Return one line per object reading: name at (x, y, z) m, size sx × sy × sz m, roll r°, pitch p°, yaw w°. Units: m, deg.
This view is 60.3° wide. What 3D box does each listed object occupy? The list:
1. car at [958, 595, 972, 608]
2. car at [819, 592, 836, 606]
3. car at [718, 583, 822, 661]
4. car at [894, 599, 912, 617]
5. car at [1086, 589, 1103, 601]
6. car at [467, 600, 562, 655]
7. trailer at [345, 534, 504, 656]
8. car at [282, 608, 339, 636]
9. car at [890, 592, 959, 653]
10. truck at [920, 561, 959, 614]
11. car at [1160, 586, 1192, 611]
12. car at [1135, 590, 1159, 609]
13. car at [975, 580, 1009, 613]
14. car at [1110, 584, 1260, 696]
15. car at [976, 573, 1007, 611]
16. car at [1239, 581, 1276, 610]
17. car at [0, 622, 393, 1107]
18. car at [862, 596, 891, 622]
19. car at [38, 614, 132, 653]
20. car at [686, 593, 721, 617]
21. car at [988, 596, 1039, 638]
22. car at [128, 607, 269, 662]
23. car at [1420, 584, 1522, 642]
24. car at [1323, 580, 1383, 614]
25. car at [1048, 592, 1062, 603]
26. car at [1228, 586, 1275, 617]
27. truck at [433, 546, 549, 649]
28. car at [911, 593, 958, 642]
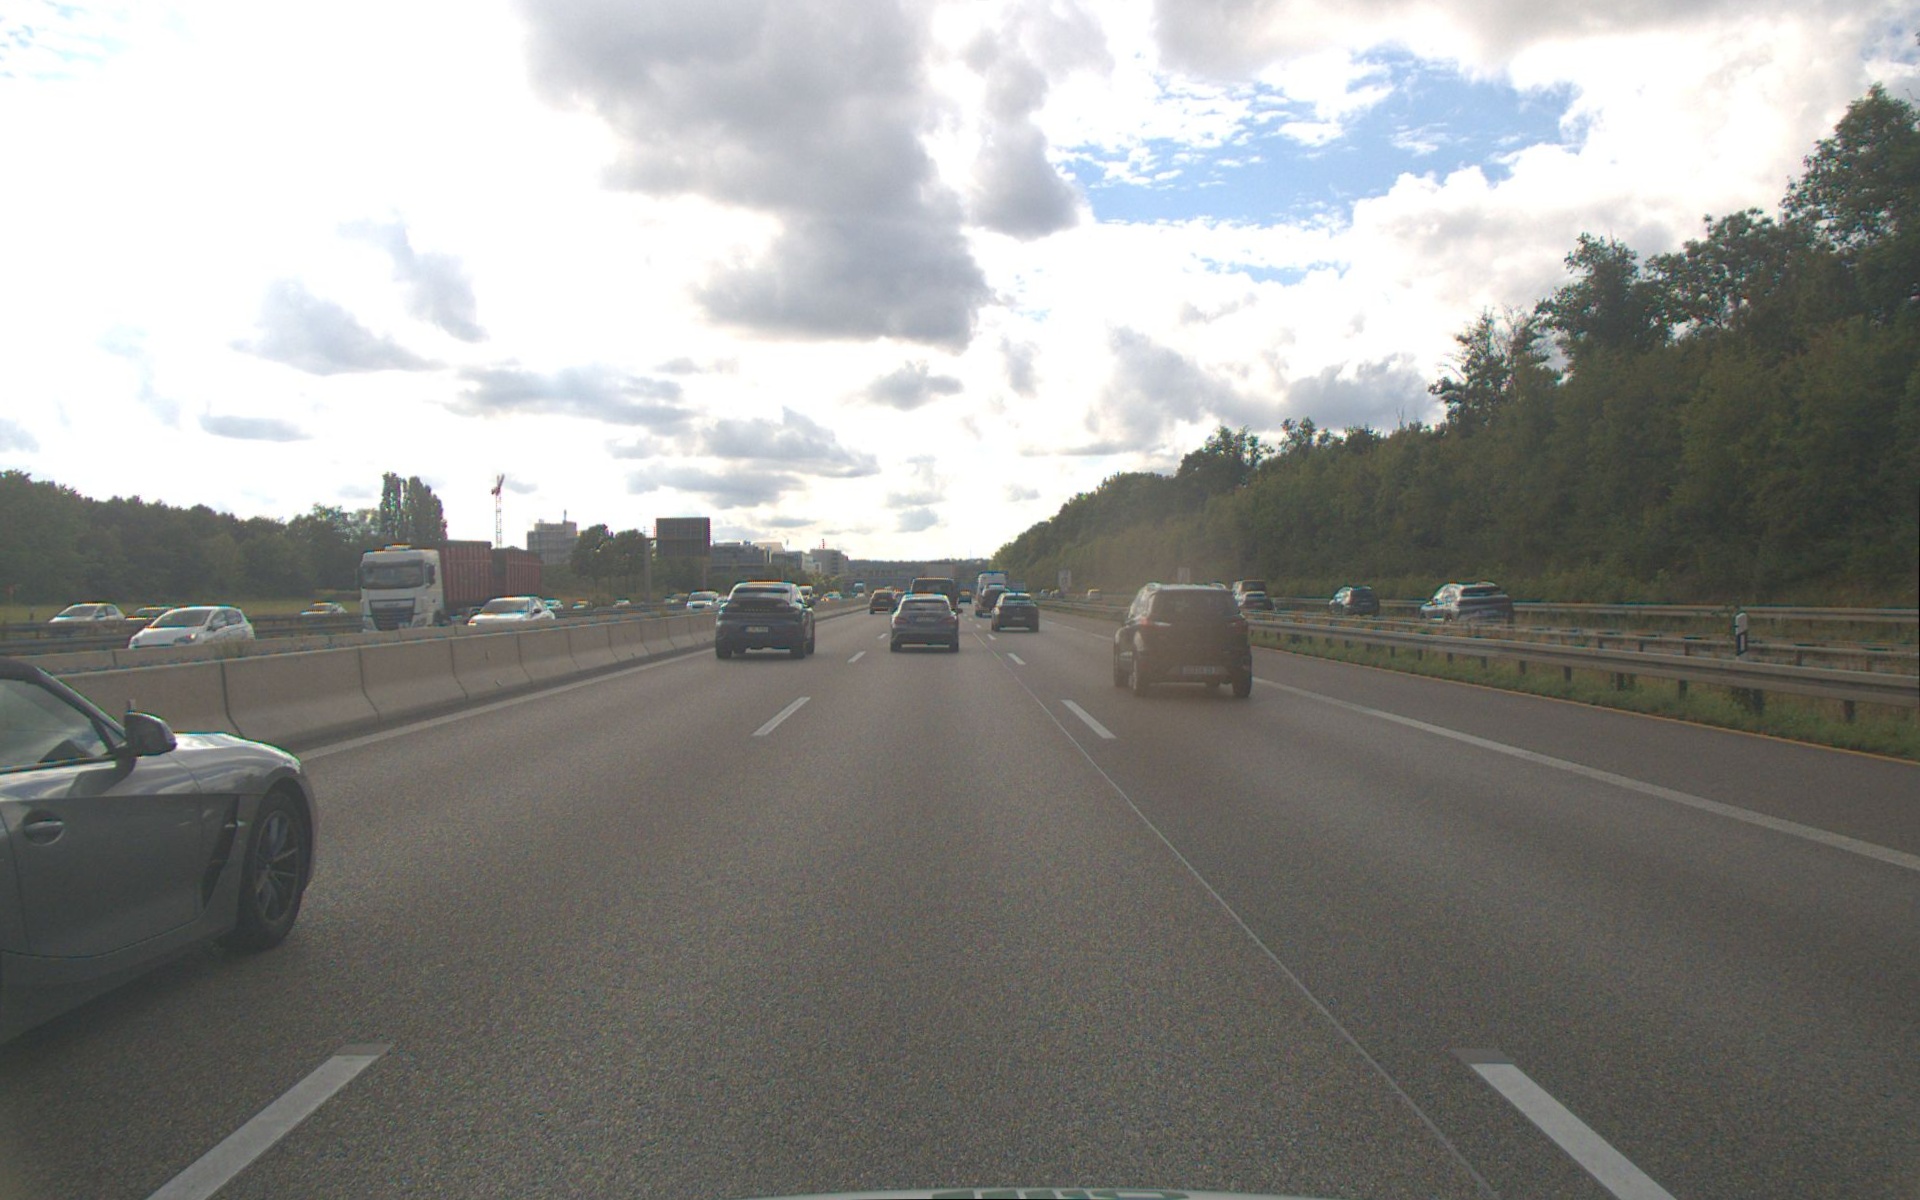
car at (0.583, 0.165, 212.870) m, size 1.716 × 1.725 × 4.189 m, roll 0°, pitch 0°, yaw -1°
car at (-16.082, -0.138, 200.717) m, size 1.727 × 1.761 × 4.702 m, roll 1°, pitch 0°, yaw -1°
car at (-4.327, 0.461, 38.367) m, size 1.873 × 1.664 × 5.499 m, roll 0°, pitch 0°, yaw -1°
car at (-5.416, 0.761, 157.936) m, size 1.663 × 1.639 × 4.112 m, roll 0°, pitch 0°, yaw -2°
car at (17.424, -0.654, 214.133) m, size 1.717 × 1.543 × 4.189 m, roll 0°, pitch 0°, yaw -2°
car at (-13.214, 0.787, 49.343) m, size 1.654 × 1.531 × 4.642 m, roll -1°, pitch 0°, yaw -1°
trailer at (-20.852, -0.211, 65.201) m, size 2.985 × 4.364 × 10.652 m, roll -1°, pitch 0°, yaw -1°
car at (-38.242, 1.279, 97.488) m, size 1.693 × 1.560 × 4.451 m, roll 0°, pitch 0°, yaw -1°
car at (-0.910, 0.547, 43.050) m, size 1.686 × 1.505 × 4.390 m, roll 0°, pitch 0°, yaw -1°
truck at (-1.791, -1.111, 145.292) m, size 3.196 × 4.451 × 11.024 m, roll 1°, pitch 0°, yaw -1°
car at (15.685, -0.111, 120.479) m, size 1.716 × 1.725 × 4.189 m, roll 0°, pitch 0°, yaw -1°
car at (17.692, -0.036, 156.909) m, size 1.716 × 1.725 × 4.189 m, roll 0°, pitch 0°, yaw -1°
car at (1.917, -0.201, 99.820) m, size 1.874 × 1.952 × 4.029 m, roll 0°, pitch 0°, yaw -1°
car at (3.395, 0.560, 25.598) m, size 1.663 × 1.592 × 4.112 m, roll 0°, pitch 0°, yaw -2°
car at (2.017, -0.529, 107.029) m, size 1.835 × 2.399 × 4.281 m, roll 0°, pitch 0°, yaw -1°
car at (19.145, -0.301, 106.685) m, size 1.563 × 1.835 × 3.823 m, roll 0°, pitch 0°, yaw -2°
car at (-3.690, 0.788, 5.715) m, size 1.835 × 1.325 × 4.941 m, roll 0°, pitch 0°, yaw -1°
car at (-5.689, 0.631, 112.617) m, size 1.835 × 1.727 × 4.071 m, roll 0°, pitch 0°, yaw -1°
car at (-37.595, 1.415, 71.183) m, size 1.693 × 1.560 × 4.451 m, roll 0°, pitch 0°, yaw -1°
car at (-17.647, 0.331, 113.895) m, size 1.728 × 1.559 × 4.941 m, roll 0°, pitch 0°, yaw -2°
car at (2.041, 0.628, 64.268) m, size 1.795 × 1.547 × 4.224 m, roll 0°, pitch 0°, yaw -1°
car at (-18.575, 0.813, 40.536) m, size 1.621 × 1.213 × 4.130 m, roll -1°, pitch 0°, yaw -1°
car at (16.039, 0.378, 52.122) m, size 1.809 × 1.679 × 4.305 m, roll -2°, pitch 0°, yaw -1°
car at (19.059, -0.160, 80.447) m, size 1.694 × 1.573 × 4.304 m, roll -2°, pitch 0°, yaw -2°
car at (13.360, -0.385, 232.613) m, size 1.694 × 1.560 × 4.451 m, roll -1°, pitch 0°, yaw -1°
car at (15.328, 0.057, 87.101) m, size 1.563 × 1.573 × 4.188 m, roll 0°, pitch 0°, yaw -2°
truck at (-21.085, -0.113, 74.910) m, size 2.985 × 4.364 × 8.586 m, roll -1°, pitch 0°, yaw -1°
car at (-0.937, 0.601, 61.356) m, size 1.686 × 1.754 × 4.390 m, roll 0°, pitch 0°, yaw -1°
